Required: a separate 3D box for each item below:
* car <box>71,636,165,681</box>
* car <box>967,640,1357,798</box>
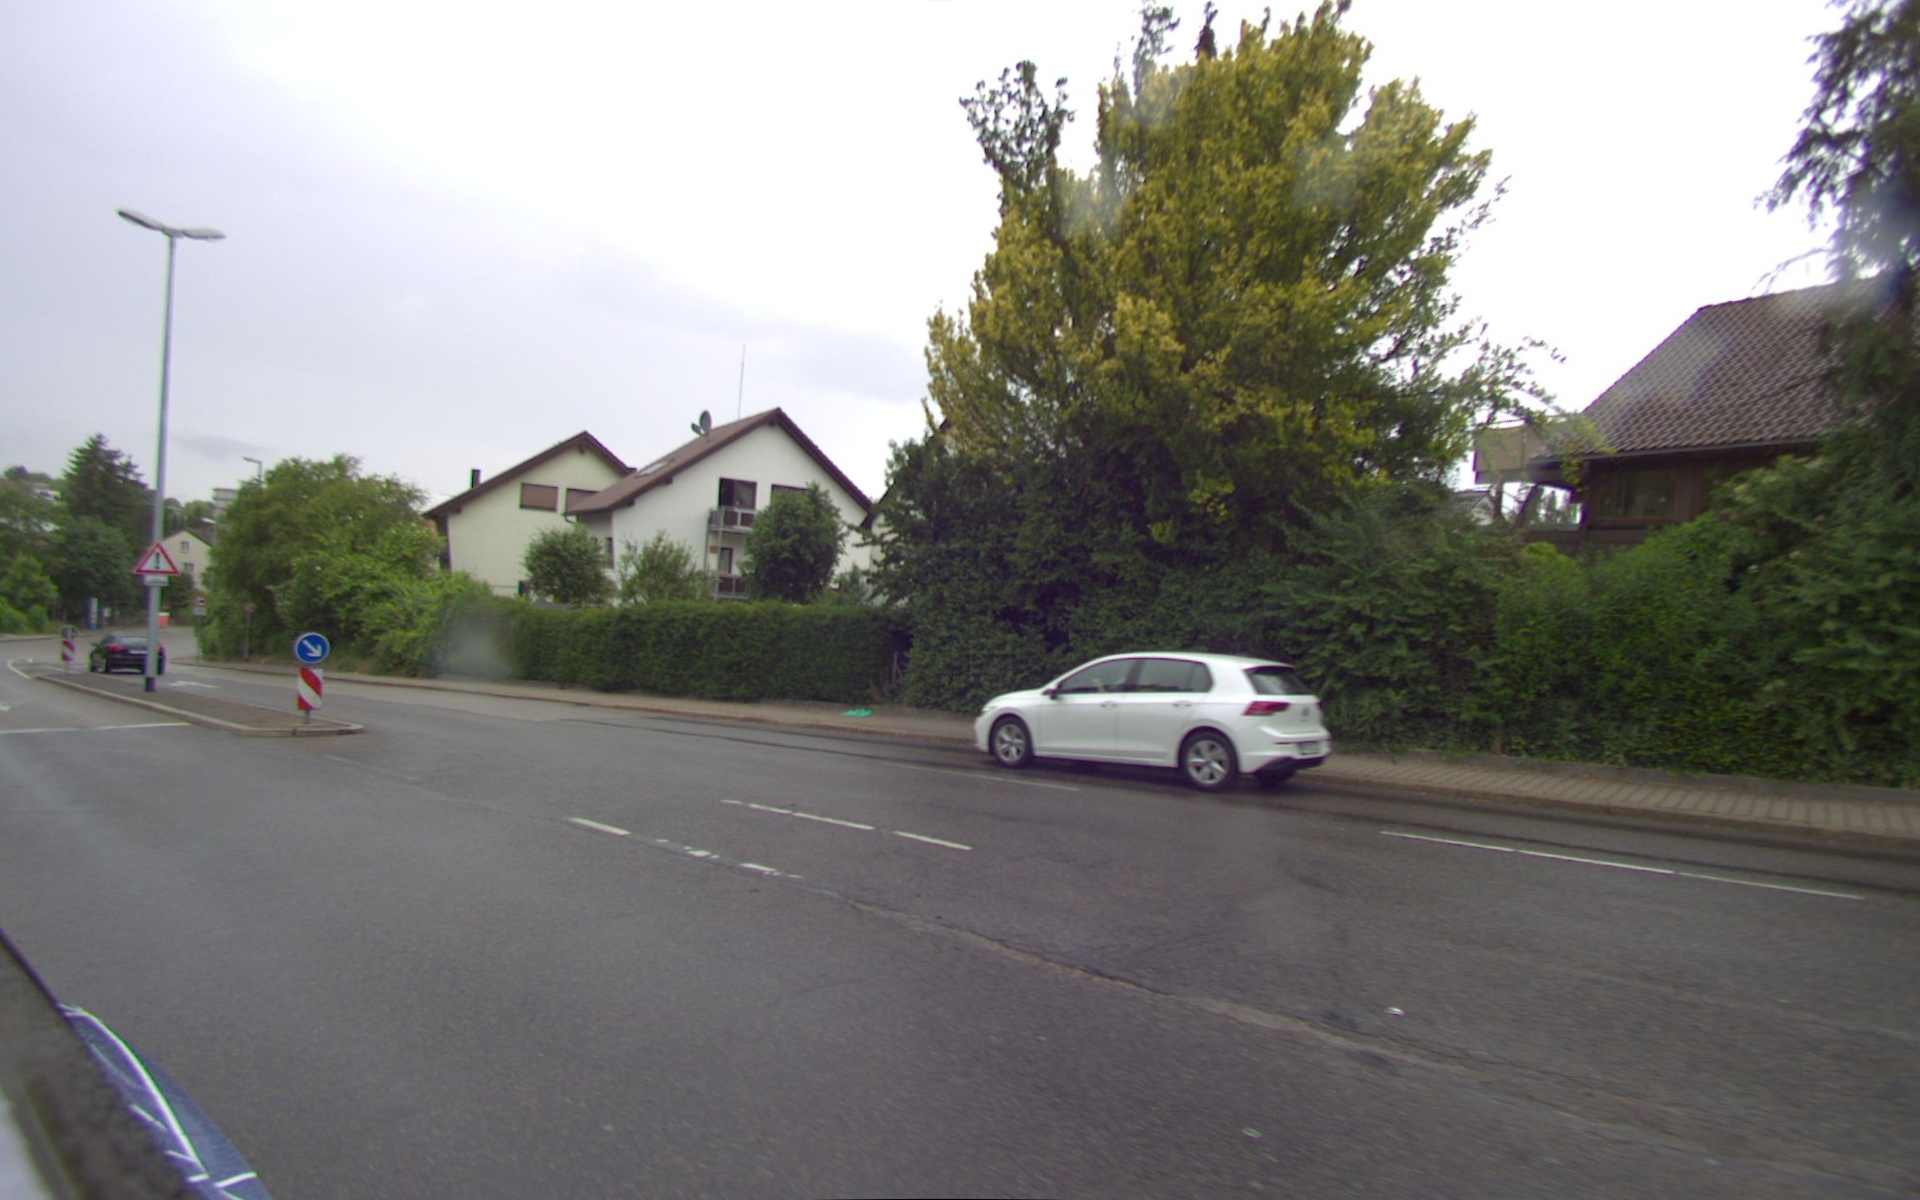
[{"bbox_3d":[-30.219,2.083,36.305,3.830,1.504,1.844,-2,-5,40],"label":"car"},{"bbox_3d":[2.220,1.262,11.790,4.155,1.497,1.709,-2,-5,42],"label":"car"}]
